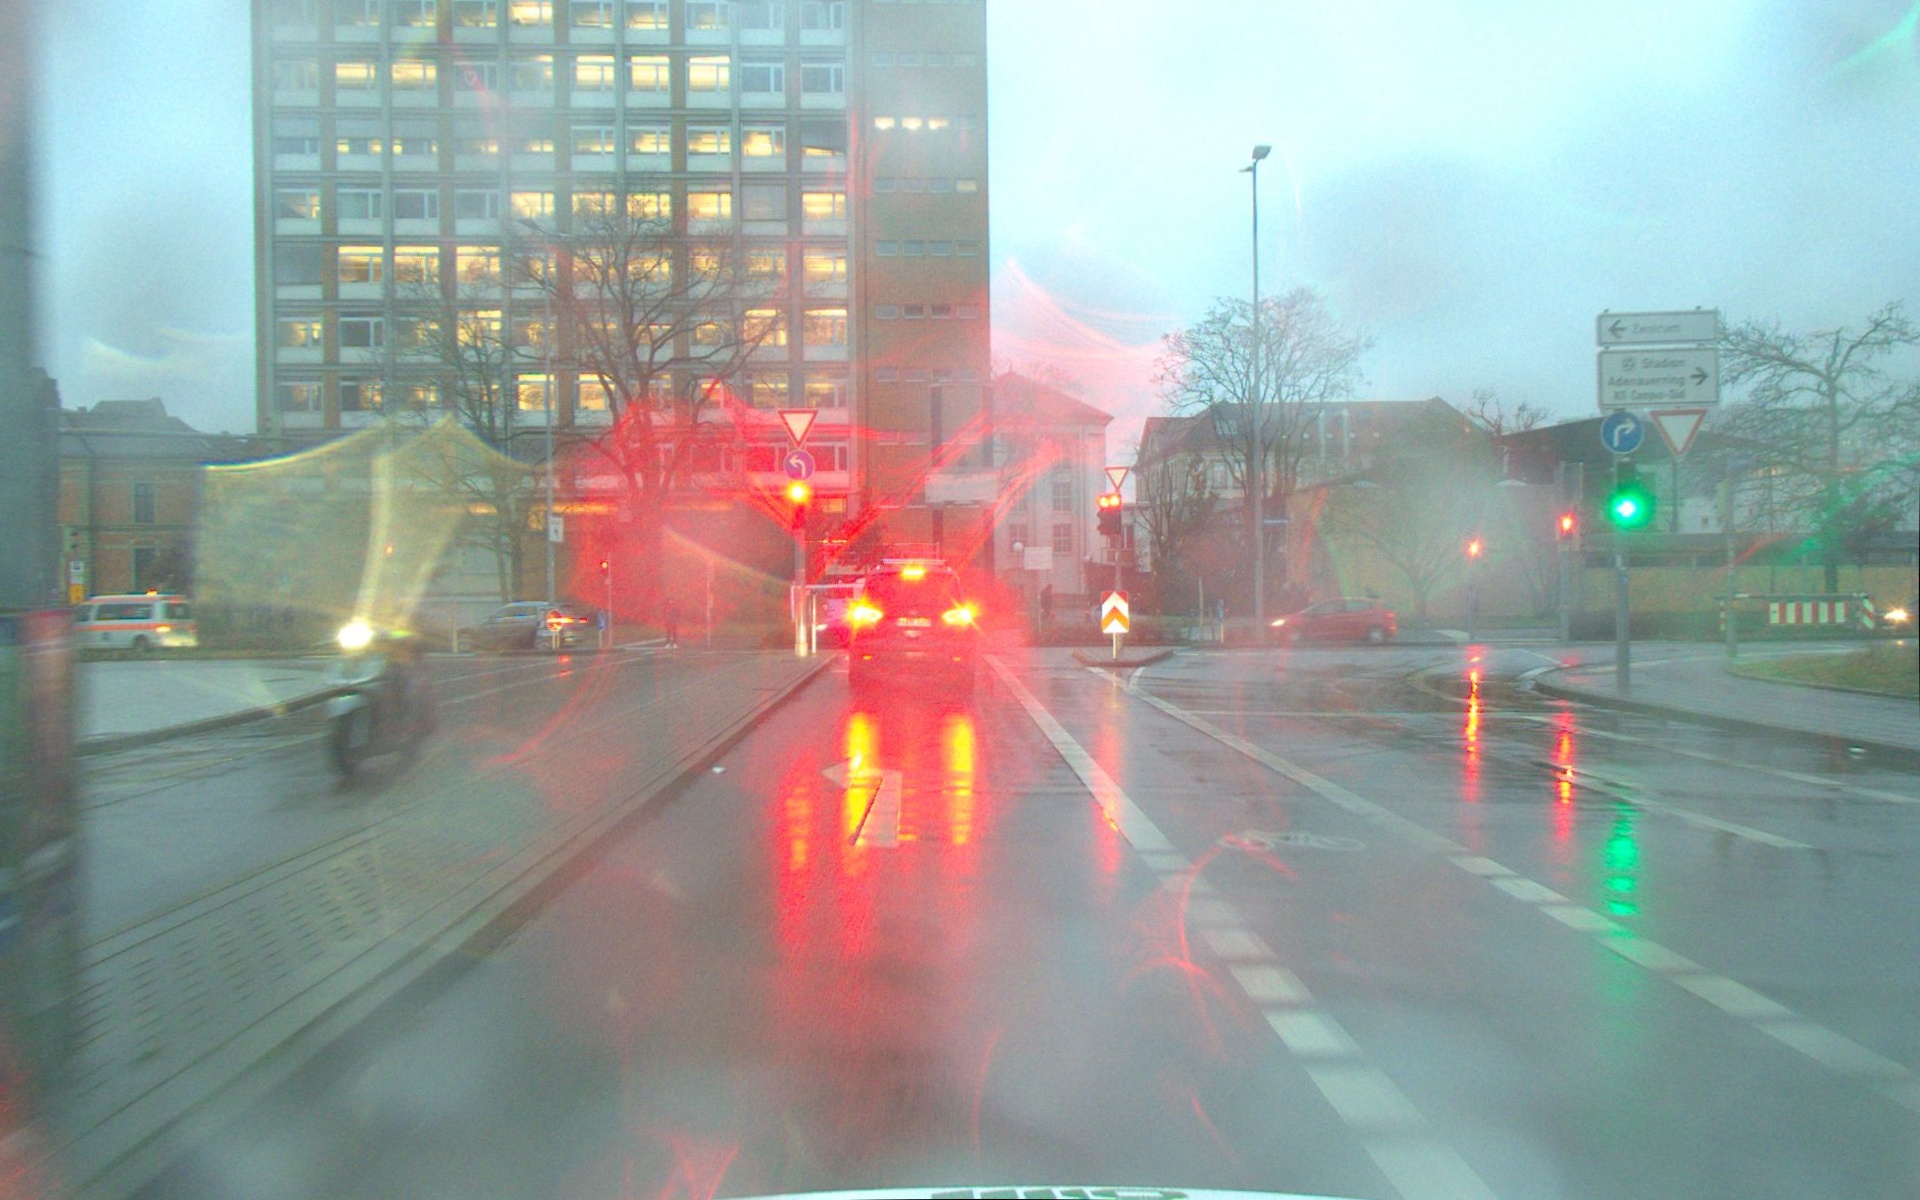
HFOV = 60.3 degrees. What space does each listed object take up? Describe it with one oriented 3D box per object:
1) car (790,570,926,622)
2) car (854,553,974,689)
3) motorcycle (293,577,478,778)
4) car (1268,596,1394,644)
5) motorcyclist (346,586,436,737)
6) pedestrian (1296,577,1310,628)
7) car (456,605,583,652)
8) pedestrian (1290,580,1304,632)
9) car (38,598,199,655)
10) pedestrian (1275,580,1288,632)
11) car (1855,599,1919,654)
[{"bbox_3d":[-4.247,-0.174,69.276,5.430,2.060,2.001,1,-2,5],"label":"car"},{"bbox_3d":[-0.675,0.263,24.698,1.614,1.850,3.999,1,1,-1],"label":"car"},{"bbox_3d":[-4.727,0.586,13.798,0.812,1.523,2.313,-1,0,-3],"label":"motorcycle"},{"bbox_3d":[11.344,0.618,50.708,3.708,1.423,1.566,1,-2,11],"label":"car"},{"bbox_3d":[-4.719,0.505,13.738,0.525,1.214,0.610,1,-2,-2],"label":"motorcyclist"},{"bbox_3d":[12.579,0.087,60.642,0.428,1.871,0.460,0,-2,17],"label":"pedestrian"},{"bbox_3d":[-14.701,0.942,55.241,3.832,1.512,1.470,0,-2,14],"label":"car"},{"bbox_3d":[12.158,0.228,59.633,0.448,1.871,0.439,0,-2,16],"label":"pedestrian"},{"bbox_3d":[-30.084,0.912,59.148,5.045,1.947,2.001,0,0,14],"label":"car"},{"bbox_3d":[11.825,0.220,60.888,0.428,1.871,0.460,0,-2,17],"label":"pedestrian"},{"bbox_3d":[29.274,0.825,49.153,4.338,1.608,1.969,0,-2,12],"label":"car"}]
